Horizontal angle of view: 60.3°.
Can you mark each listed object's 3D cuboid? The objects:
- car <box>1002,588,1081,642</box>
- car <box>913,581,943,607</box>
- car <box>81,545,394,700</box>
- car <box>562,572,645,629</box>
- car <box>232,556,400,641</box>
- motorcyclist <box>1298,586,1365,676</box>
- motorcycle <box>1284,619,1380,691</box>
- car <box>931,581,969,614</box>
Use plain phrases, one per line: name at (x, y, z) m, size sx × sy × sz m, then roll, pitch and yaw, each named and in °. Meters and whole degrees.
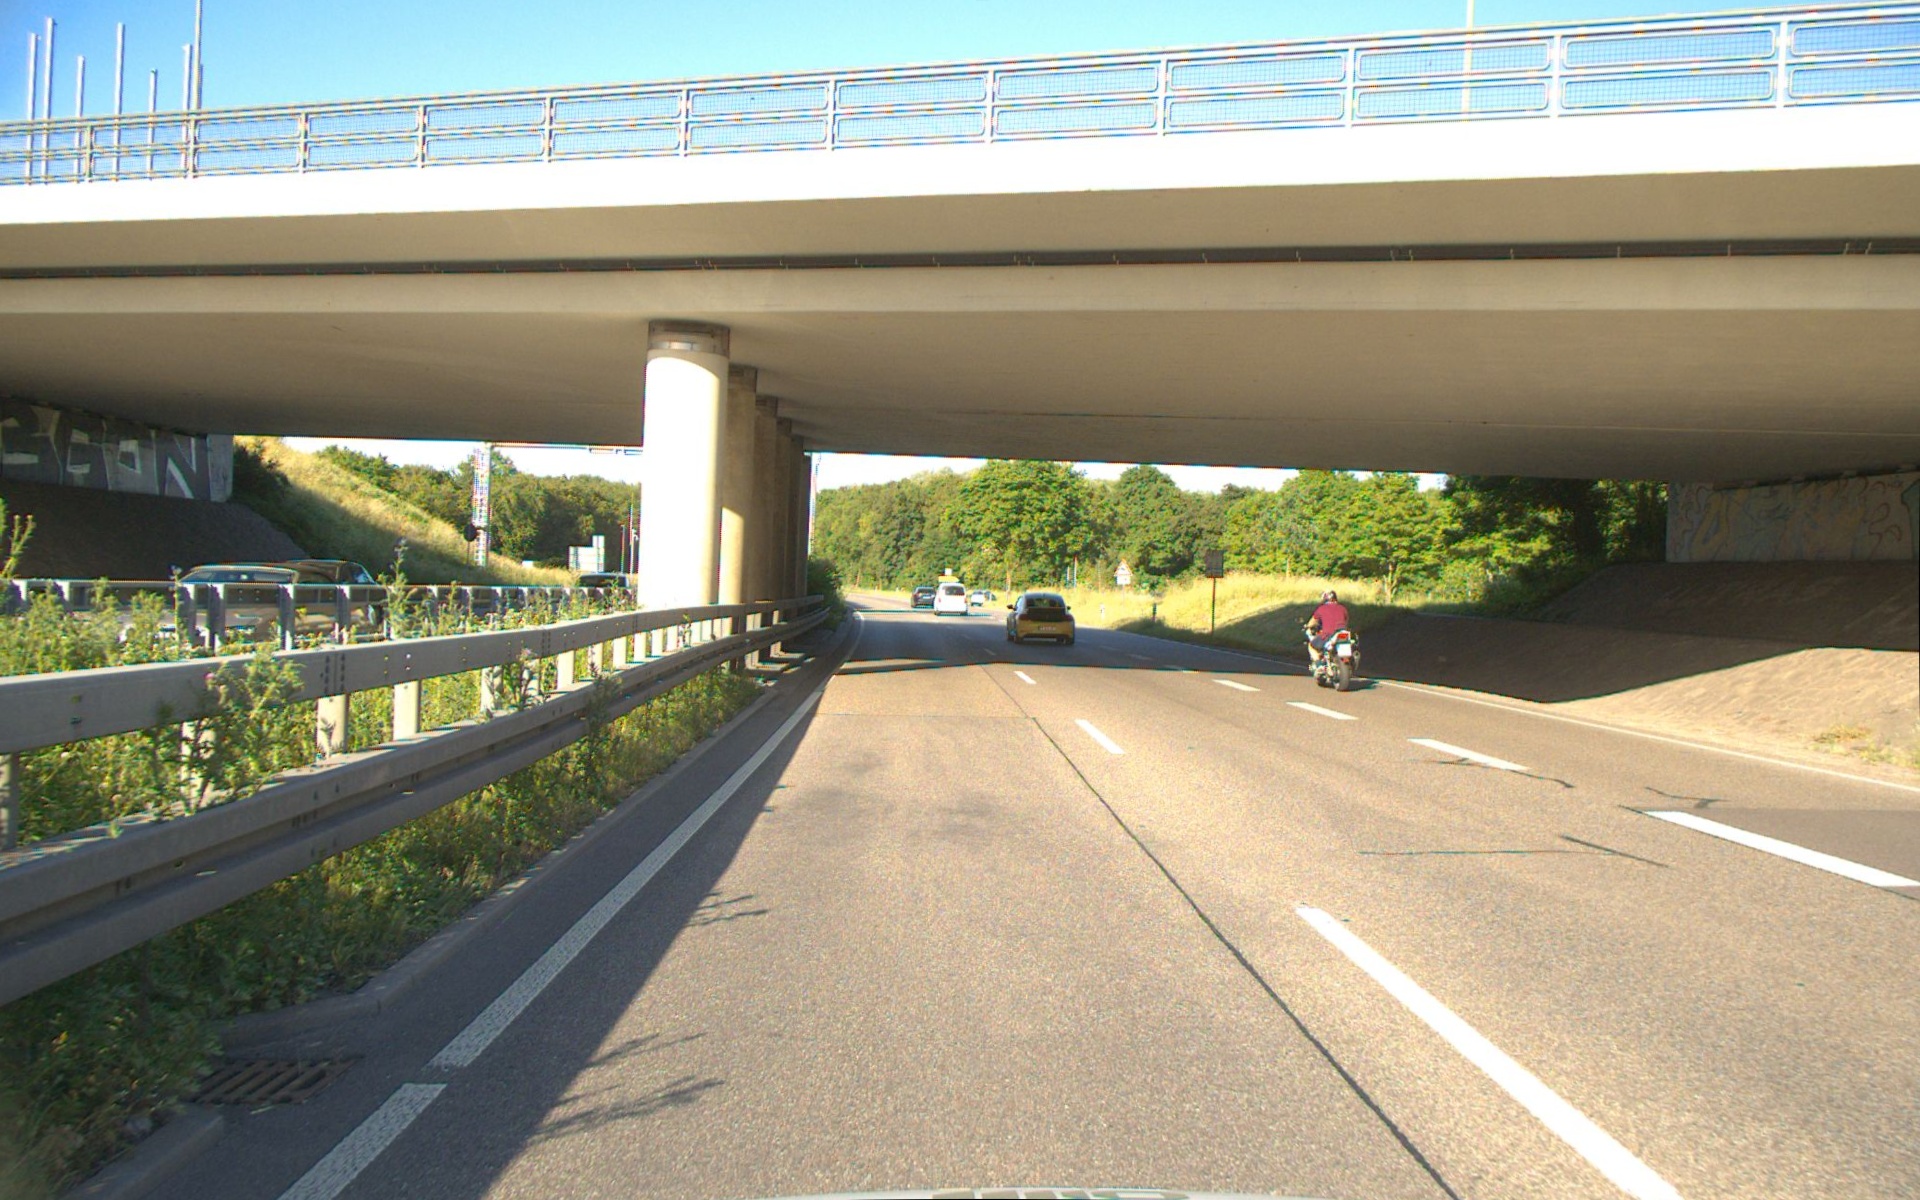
car at (2.412, 0.417, 49.800) m, size 1.860 × 1.496 × 3.997 m, roll 1°, pitch 1°, yaw -4°
car at (-2.320, -0.426, 117.945) m, size 1.860 × 1.798 × 3.996 m, roll 1°, pitch 0°, yaw -5°
car at (-7.951, 0.217, 18.647) m, size 1.725 × 1.468 × 4.109 m, roll 3°, pitch 0°, yaw -1°
car at (-10.273, 0.009, 47.912) m, size 1.714 × 1.532 × 4.222 m, roll 2°, pitch 0°, yaw -4°
car at (-12.882, -0.038, 33.363) m, size 1.713 × 1.532 × 4.456 m, roll 2°, pitch 0°, yaw -2°
motorcyclist at (6.273, 0.513, 28.008) m, size 0.800 × 1.472 × 1.093 m, roll 1°, pitch 0°, yaw -4°
motorcycle at (6.262, 0.906, 28.043) m, size 0.800 × 1.088 × 2.833 m, roll 1°, pitch 0°, yaw -4°
car at (-0.596, -0.142, 92.904) m, size 1.860 × 1.798 × 3.997 m, roll 0°, pitch 0°, yaw -4°
